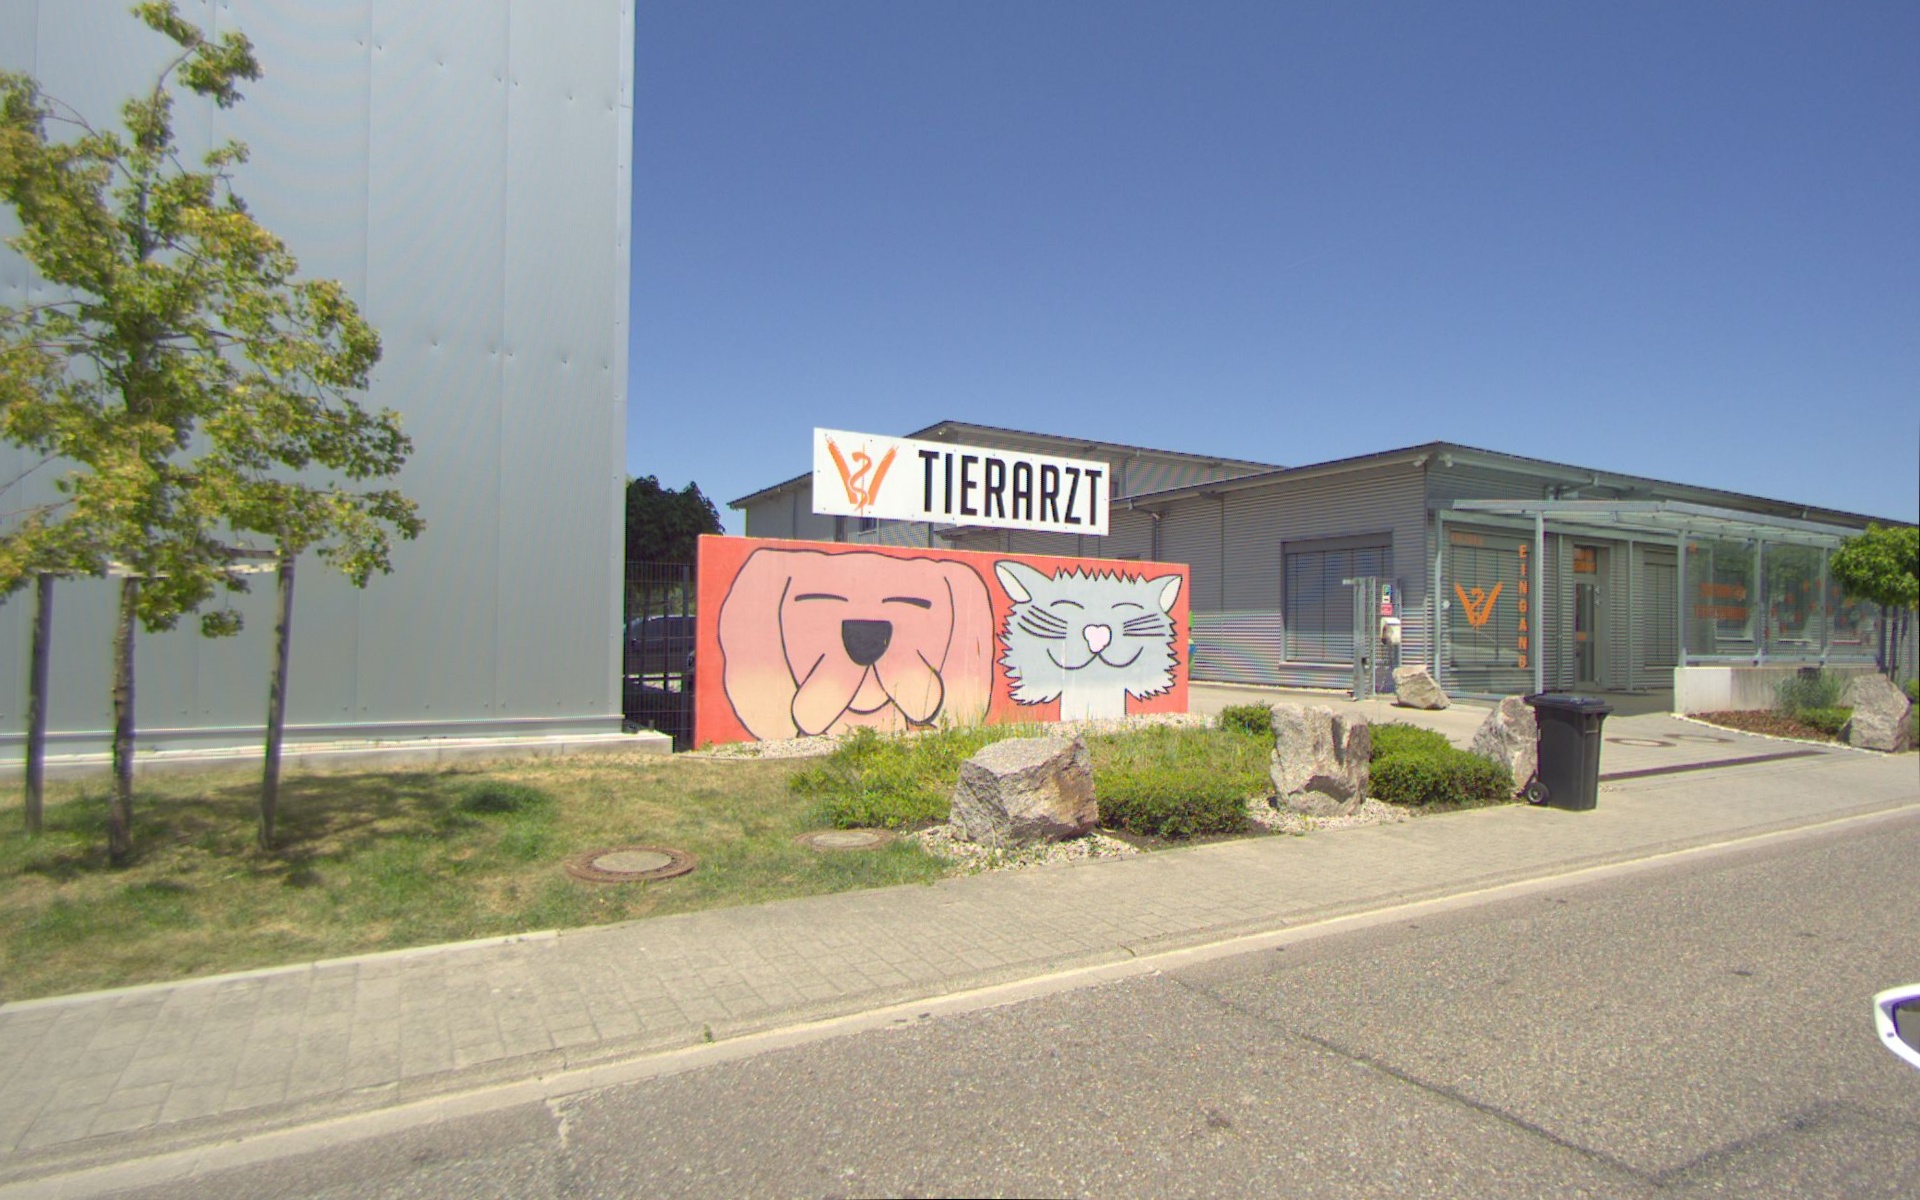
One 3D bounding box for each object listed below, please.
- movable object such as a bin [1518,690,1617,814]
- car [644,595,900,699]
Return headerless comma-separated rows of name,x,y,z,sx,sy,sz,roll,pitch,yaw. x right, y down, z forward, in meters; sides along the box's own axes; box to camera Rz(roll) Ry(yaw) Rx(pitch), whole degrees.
movable object such as a bin,5.151,1.266,8.528,0.507,0.962,0.567,1,-1,-35
car,-3.215,0.776,17.431,3.961,1.605,1.894,1,-1,-36
